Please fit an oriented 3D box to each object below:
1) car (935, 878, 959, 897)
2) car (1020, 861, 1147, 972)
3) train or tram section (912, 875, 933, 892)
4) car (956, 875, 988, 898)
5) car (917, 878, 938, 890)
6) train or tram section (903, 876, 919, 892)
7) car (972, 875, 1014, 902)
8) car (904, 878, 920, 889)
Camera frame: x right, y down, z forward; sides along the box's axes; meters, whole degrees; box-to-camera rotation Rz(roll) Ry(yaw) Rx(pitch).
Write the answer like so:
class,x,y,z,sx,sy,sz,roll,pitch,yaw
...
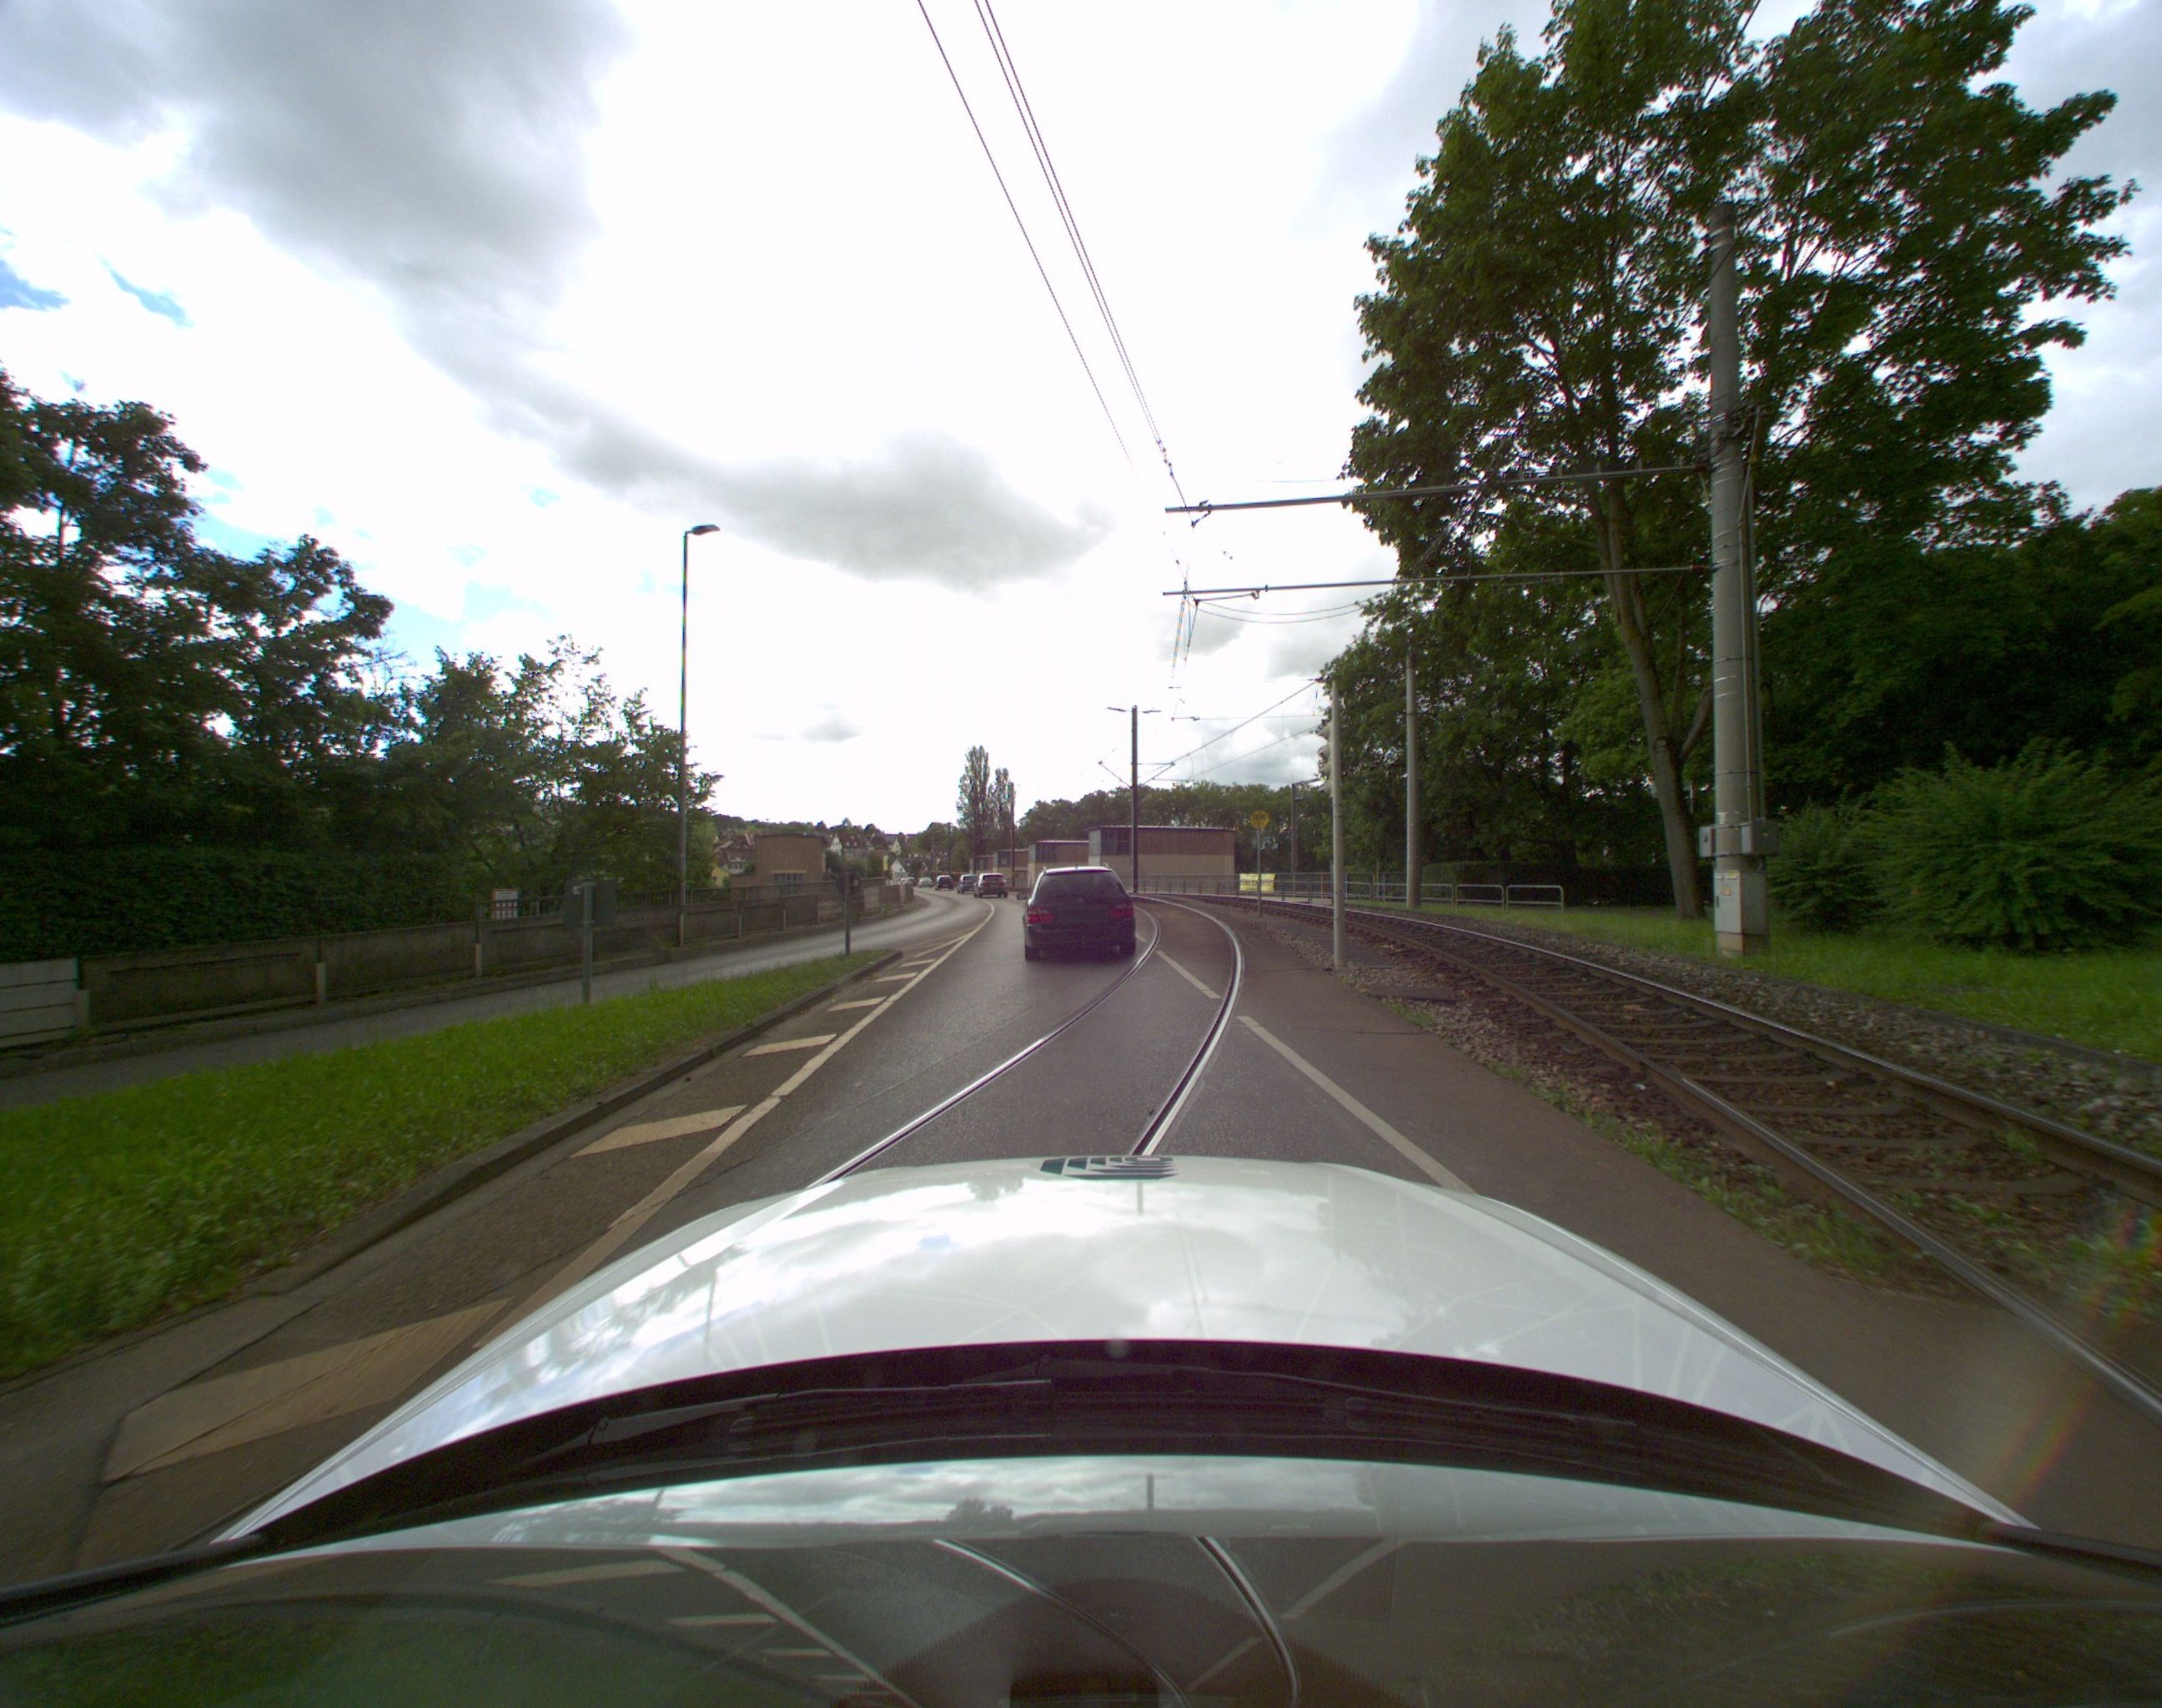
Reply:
class,x,y,z,sx,sy,sz,roll,pitch,yaw
car,-13.458,3.317,81.509,1.996,1.672,4.520,-3,-1,-13
car,0.055,0.919,13.829,1.753,1.516,4.442,-2,-1,0
train or tram section,-35.719,6.633,183.126,2.888,3.509,18.561,-2,-2,-16
car,-8.539,2.475,63.502,1.996,1.564,4.974,-4,0,-13
car,-20.307,3.967,107.543,1.999,1.571,4.874,0,-2,-19
train or tram section,-45.954,8.159,219.469,2.790,3.656,19.780,-3,-2,-16
car,-5.455,2.120,49.948,1.775,1.555,4.215,-1,-2,-17
car,-27.049,4.703,130.453,1.999,1.571,4.875,0,-2,-18
